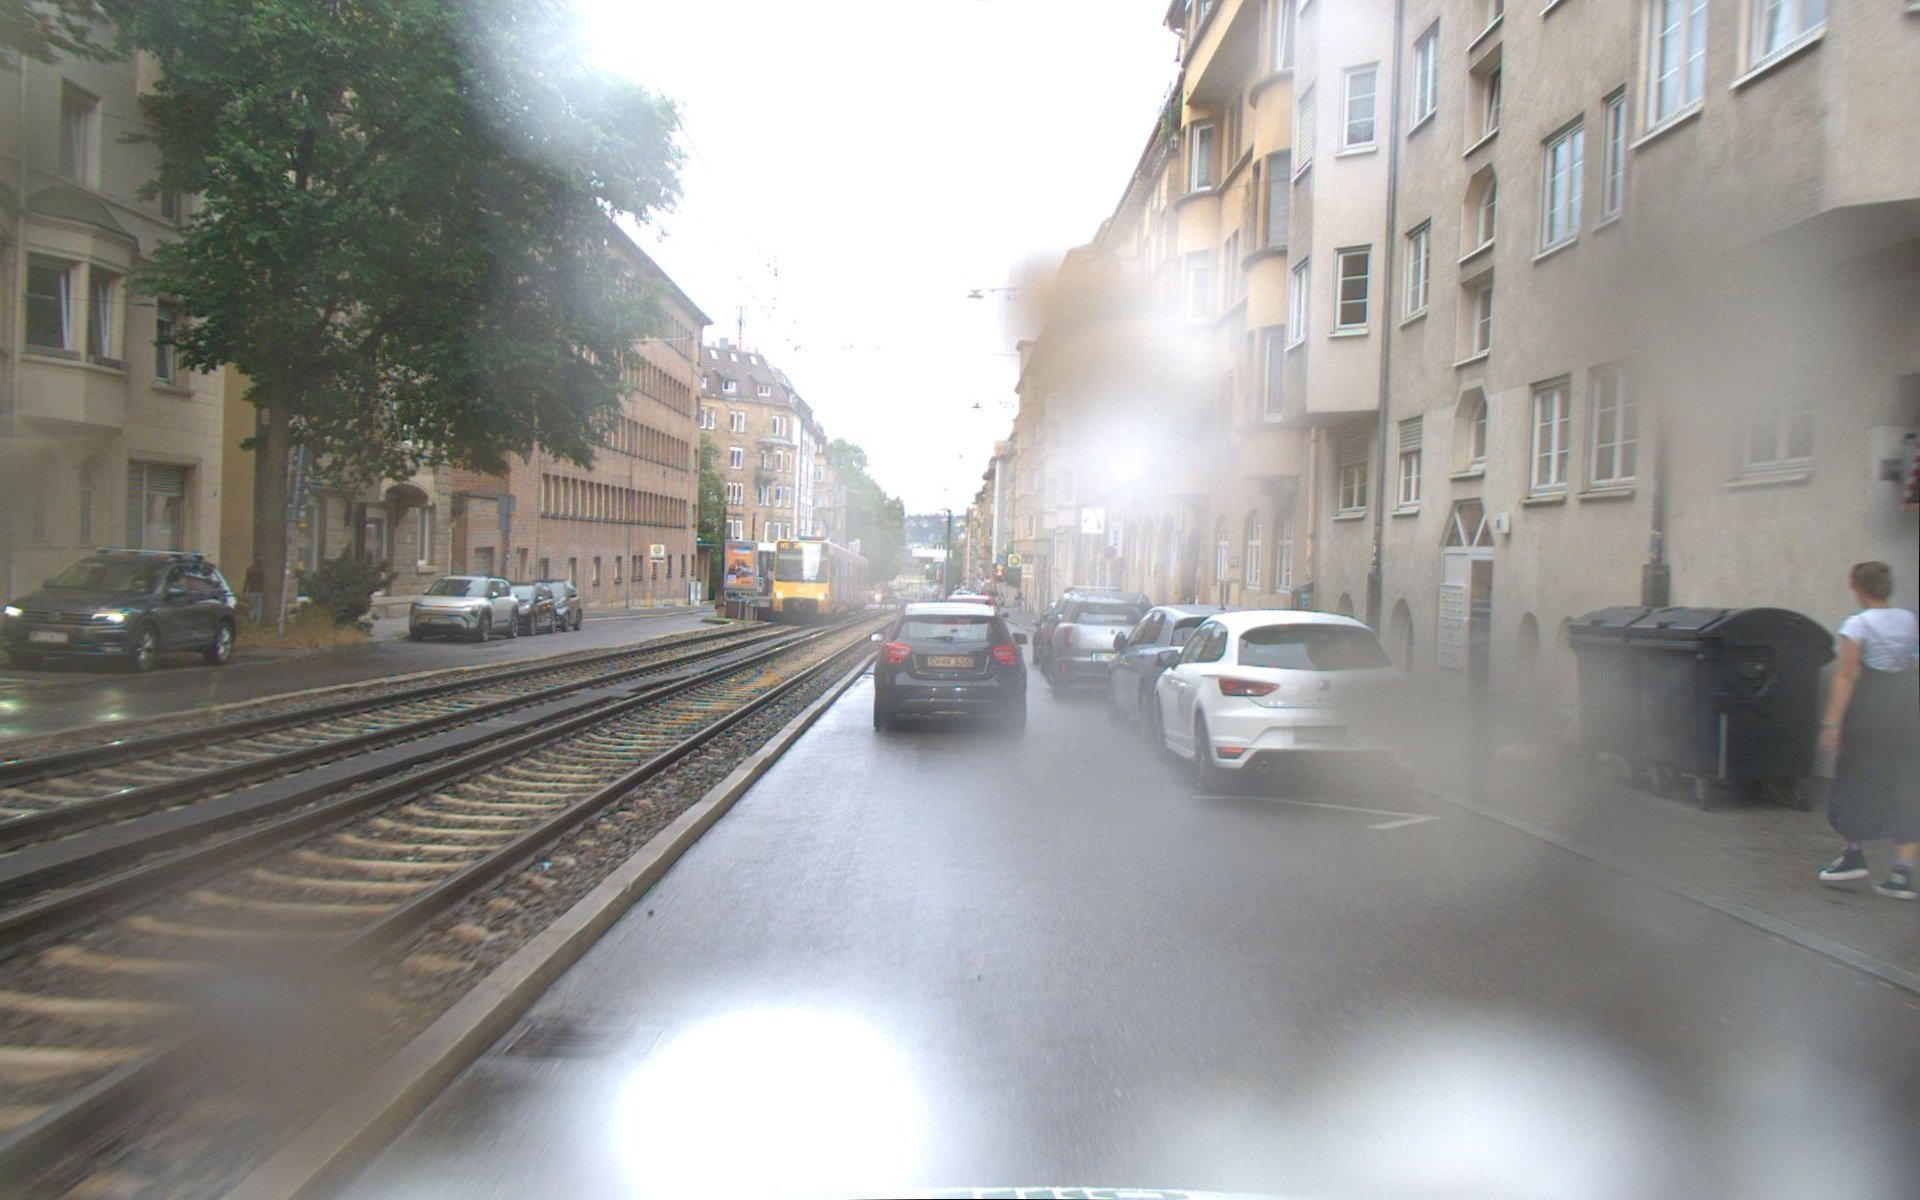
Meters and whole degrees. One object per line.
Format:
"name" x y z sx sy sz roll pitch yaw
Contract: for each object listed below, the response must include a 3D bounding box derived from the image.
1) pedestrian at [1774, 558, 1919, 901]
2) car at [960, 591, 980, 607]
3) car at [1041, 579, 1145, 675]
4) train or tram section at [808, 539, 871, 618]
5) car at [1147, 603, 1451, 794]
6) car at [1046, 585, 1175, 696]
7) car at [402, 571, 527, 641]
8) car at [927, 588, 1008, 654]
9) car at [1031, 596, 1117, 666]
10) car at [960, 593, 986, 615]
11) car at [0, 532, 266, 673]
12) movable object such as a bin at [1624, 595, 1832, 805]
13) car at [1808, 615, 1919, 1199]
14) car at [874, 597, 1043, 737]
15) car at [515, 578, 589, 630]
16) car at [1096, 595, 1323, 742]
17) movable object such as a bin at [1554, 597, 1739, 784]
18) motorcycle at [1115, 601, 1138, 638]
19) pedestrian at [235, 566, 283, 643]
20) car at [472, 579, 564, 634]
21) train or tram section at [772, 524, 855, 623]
"pedestrian" 4.857 0.656 8.677 0.788 1.717 0.754 1 -1 -1
"car" 1.042 -0.124 176.928 2.091 1.552 4.245 2 0 0
"car" 2.605 0.529 33.340 1.742 1.780 4.548 1 -1 0
"train or tram section" -6.794 -1.167 95.058 2.690 4.132 15.657 1 0 -1
"car" 2.811 0.762 14.689 1.753 1.410 4.394 1 -1 -1
"car" 2.390 0.631 27.278 1.803 1.636 4.761 1 -1 2
"car" -12.523 0.124 42.058 1.921 1.633 4.327 2 0 -1
"car" 0.180 0.521 42.759 1.953 1.552 4.245 2 0 0
"car" 2.578 0.690 37.956 1.559 1.465 3.308 3 -1 -2
"car" 0.995 0.298 126.348 1.848 1.552 4.246 2 0 1
"car" -12.358 0.007 24.792 1.914 1.772 4.777 4 0 -2
"movable object such as a bin" 5.764 0.722 12.502 0.960 1.494 1.272 1 -1 -1
"car" 2.904 0.777 1.630 1.677 1.493 4.773 1 -1 0
"car" -0.025 0.730 19.843 1.797 1.478 3.901 1 0 0
"car" -12.511 0.111 50.881 1.540 1.492 3.044 2 0 -2
"car" 2.775 0.729 19.359 1.795 1.493 4.373 1 -1 -3
"movable object such as a bin" 5.776 0.736 13.998 0.997 1.494 1.322 1 -1 -1
"motorcycle" 5.649 0.638 56.230 0.545 1.180 2.269 -3 0 2
"pedestrian" -15.769 0.103 37.213 0.713 1.692 0.770 2 0 -1
"car" -12.528 0.168 47.116 1.633 1.440 3.687 2 0 -1
"train or tram section" -6.736 -1.162 78.694 2.690 4.132 17.210 1 0 -1
